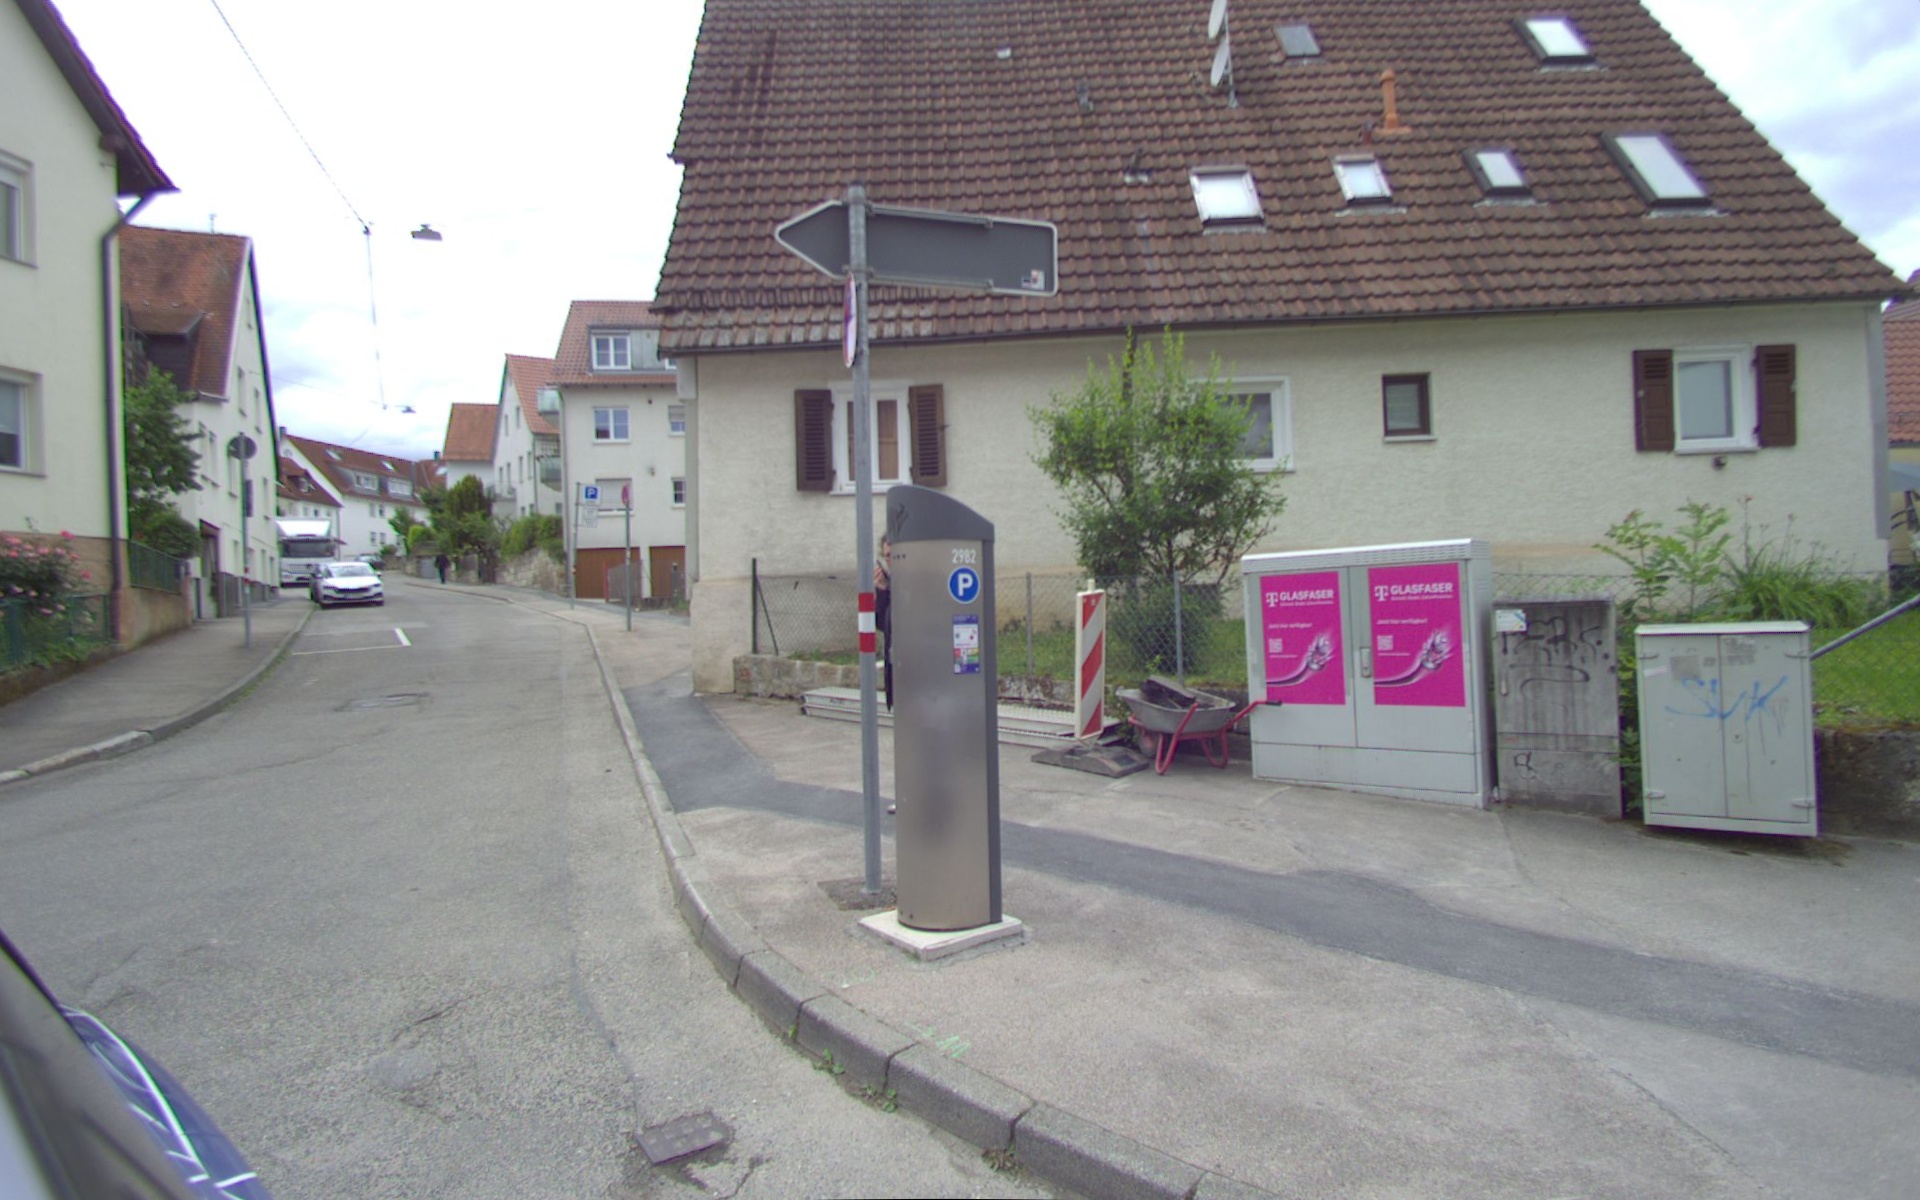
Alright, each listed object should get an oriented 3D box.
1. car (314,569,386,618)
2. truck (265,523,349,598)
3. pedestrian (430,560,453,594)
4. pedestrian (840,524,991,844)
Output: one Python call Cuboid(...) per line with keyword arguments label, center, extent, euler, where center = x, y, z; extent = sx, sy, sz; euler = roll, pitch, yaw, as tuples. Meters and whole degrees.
Cuboid(label="car", center=(-20.483, -0.275, 33.919), extent=(1.771, 1.456, 4.309), euler=(-4, 4, -34))
Cuboid(label="truck", center=(-34.433, -2.026, 53.197), extent=(2.642, 3.623, 8.120), euler=(-4, 3, -39))
Cuboid(label="pedestrian", center=(-26.932, -1.218, 52.577), extent=(0.829, 1.690, 0.979), euler=(-5, 5, -38))
Cuboid(label="pedestrian", center=(-0.239, 0.440, 5.758), extent=(0.600, 1.697, 0.644), euler=(-1, 1, 22))
